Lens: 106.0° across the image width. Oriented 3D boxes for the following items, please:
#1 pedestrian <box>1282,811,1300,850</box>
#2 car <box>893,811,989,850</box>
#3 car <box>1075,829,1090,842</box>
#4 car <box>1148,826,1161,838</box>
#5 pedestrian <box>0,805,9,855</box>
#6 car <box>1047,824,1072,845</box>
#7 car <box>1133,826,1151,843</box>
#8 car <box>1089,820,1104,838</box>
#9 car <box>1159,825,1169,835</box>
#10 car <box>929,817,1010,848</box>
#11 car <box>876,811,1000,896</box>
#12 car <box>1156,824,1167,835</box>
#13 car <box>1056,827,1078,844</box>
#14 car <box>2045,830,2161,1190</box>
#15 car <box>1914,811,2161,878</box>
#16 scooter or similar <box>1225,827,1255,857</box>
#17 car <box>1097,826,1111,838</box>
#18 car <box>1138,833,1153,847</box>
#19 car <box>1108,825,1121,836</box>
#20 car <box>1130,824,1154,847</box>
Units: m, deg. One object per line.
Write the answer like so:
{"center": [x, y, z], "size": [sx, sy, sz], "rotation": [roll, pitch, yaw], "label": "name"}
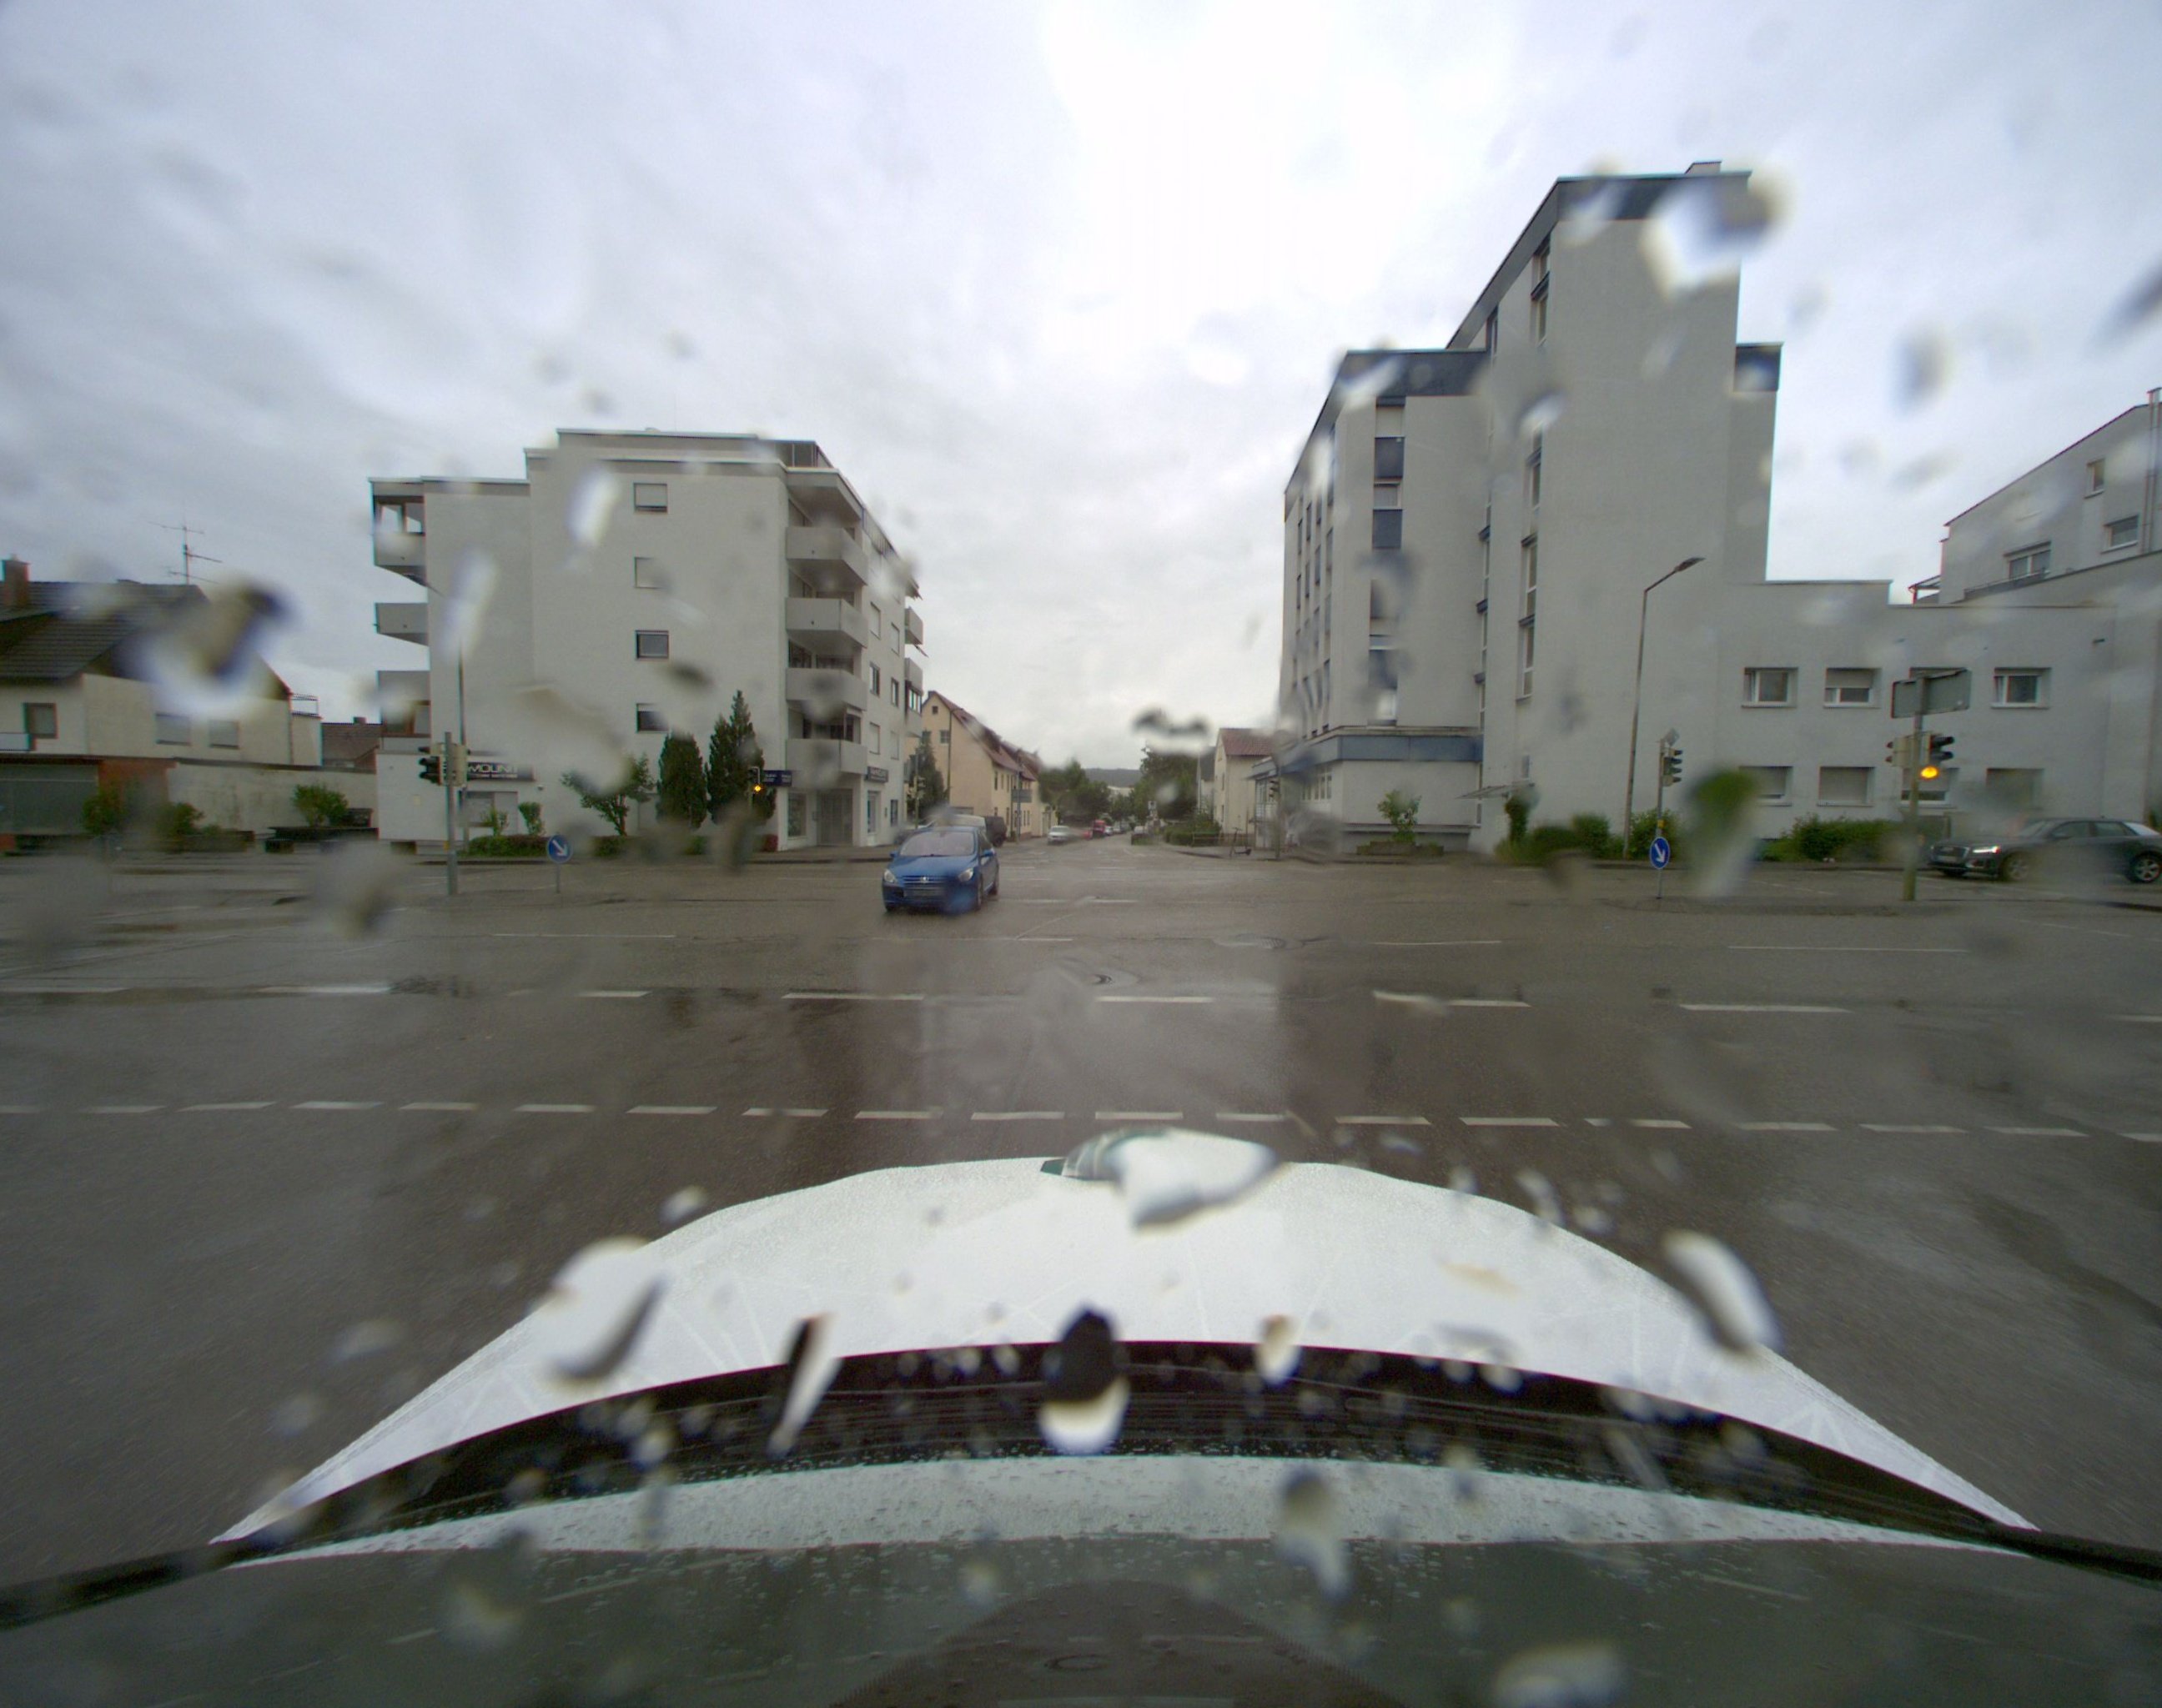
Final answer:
{"center": [9.089, -1.018, 35.271], "size": [0.652, 1.652, 0.646], "rotation": [0, -1, 2], "label": "pedestrian"}
{"center": [-7.455, -1.223, 43.578], "size": [4.750, 1.778, 1.753], "rotation": [3, -1, -37], "label": "car"}
{"center": [0.149, -2.294, 100.127], "size": [1.762, 1.518, 3.999], "rotation": [-1, 1, -1], "label": "car"}
{"center": [12.087, -3.613, 133.541], "size": [1.983, 2.013, 4.009], "rotation": [0, 1, 7], "label": "car"}
{"center": [-34.256, -0.736, 25.251], "size": [0.986, 1.568, 0.755], "rotation": [0, 1, 1], "label": "pedestrian"}
{"center": [-1.644, -1.516, 63.728], "size": [1.761, 1.523, 4.000], "rotation": [-1, 1, 0], "label": "car"}
{"center": [7.456, -2.393, 99.111], "size": [1.983, 2.013, 4.009], "rotation": [0, 1, 7], "label": "car"}
{"center": [2.367, -3.753, 123.119], "size": [2.208, 2.768, 5.728], "rotation": [-1, 1, 2], "label": "car"}
{"center": [16.955, -4.919, 166.176], "size": [1.983, 2.013, 4.009], "rotation": [0, 1, 7], "label": "car"}
{"center": [-6.890, -1.336, 50.702], "size": [4.643, 1.889, 1.941], "rotation": [-1, 1, -37], "label": "car"}
{"center": [-2.646, 0.021, 15.939], "size": [1.762, 1.445, 3.998], "rotation": [0, -1, -1], "label": "car"}
{"center": [15.549, -4.704, 157.571], "size": [1.983, 2.013, 4.009], "rotation": [0, 1, 7], "label": "car"}
{"center": [-1.231, -1.735, 75.278], "size": [1.760, 1.518, 4.197], "rotation": [0, 1, 3], "label": "car"}
{"center": [4.949, 0.701, 2.043], "size": [1.674, 1.554, 3.929], "rotation": [0, 1, 23], "label": "car"}
{"center": [23.259, -0.249, 19.693], "size": [4.110, 1.485, 1.748], "rotation": [0, 3, 10], "label": "car"}
{"center": [6.675, -0.503, 34.167], "size": [1.057, 1.227, 0.799], "rotation": [0, -1, -8], "label": "scooter or similar"}
{"center": [3.780, -3.637, 134.476], "size": [1.983, 1.684, 4.008], "rotation": [0, -1, 7], "label": "car"}
{"center": [9.521, -2.053, 119.178], "size": [1.983, 2.013, 4.009], "rotation": [0, 1, 7], "label": "car"}
{"center": [6.134, -4.302, 150.000], "size": [1.982, 1.706, 4.009], "rotation": [0, -1, 9], "label": "car"}
{"center": [5.808, -1.713, 77.025], "size": [1.983, 2.014, 4.008], "rotation": [0, -1, 7], "label": "car"}
